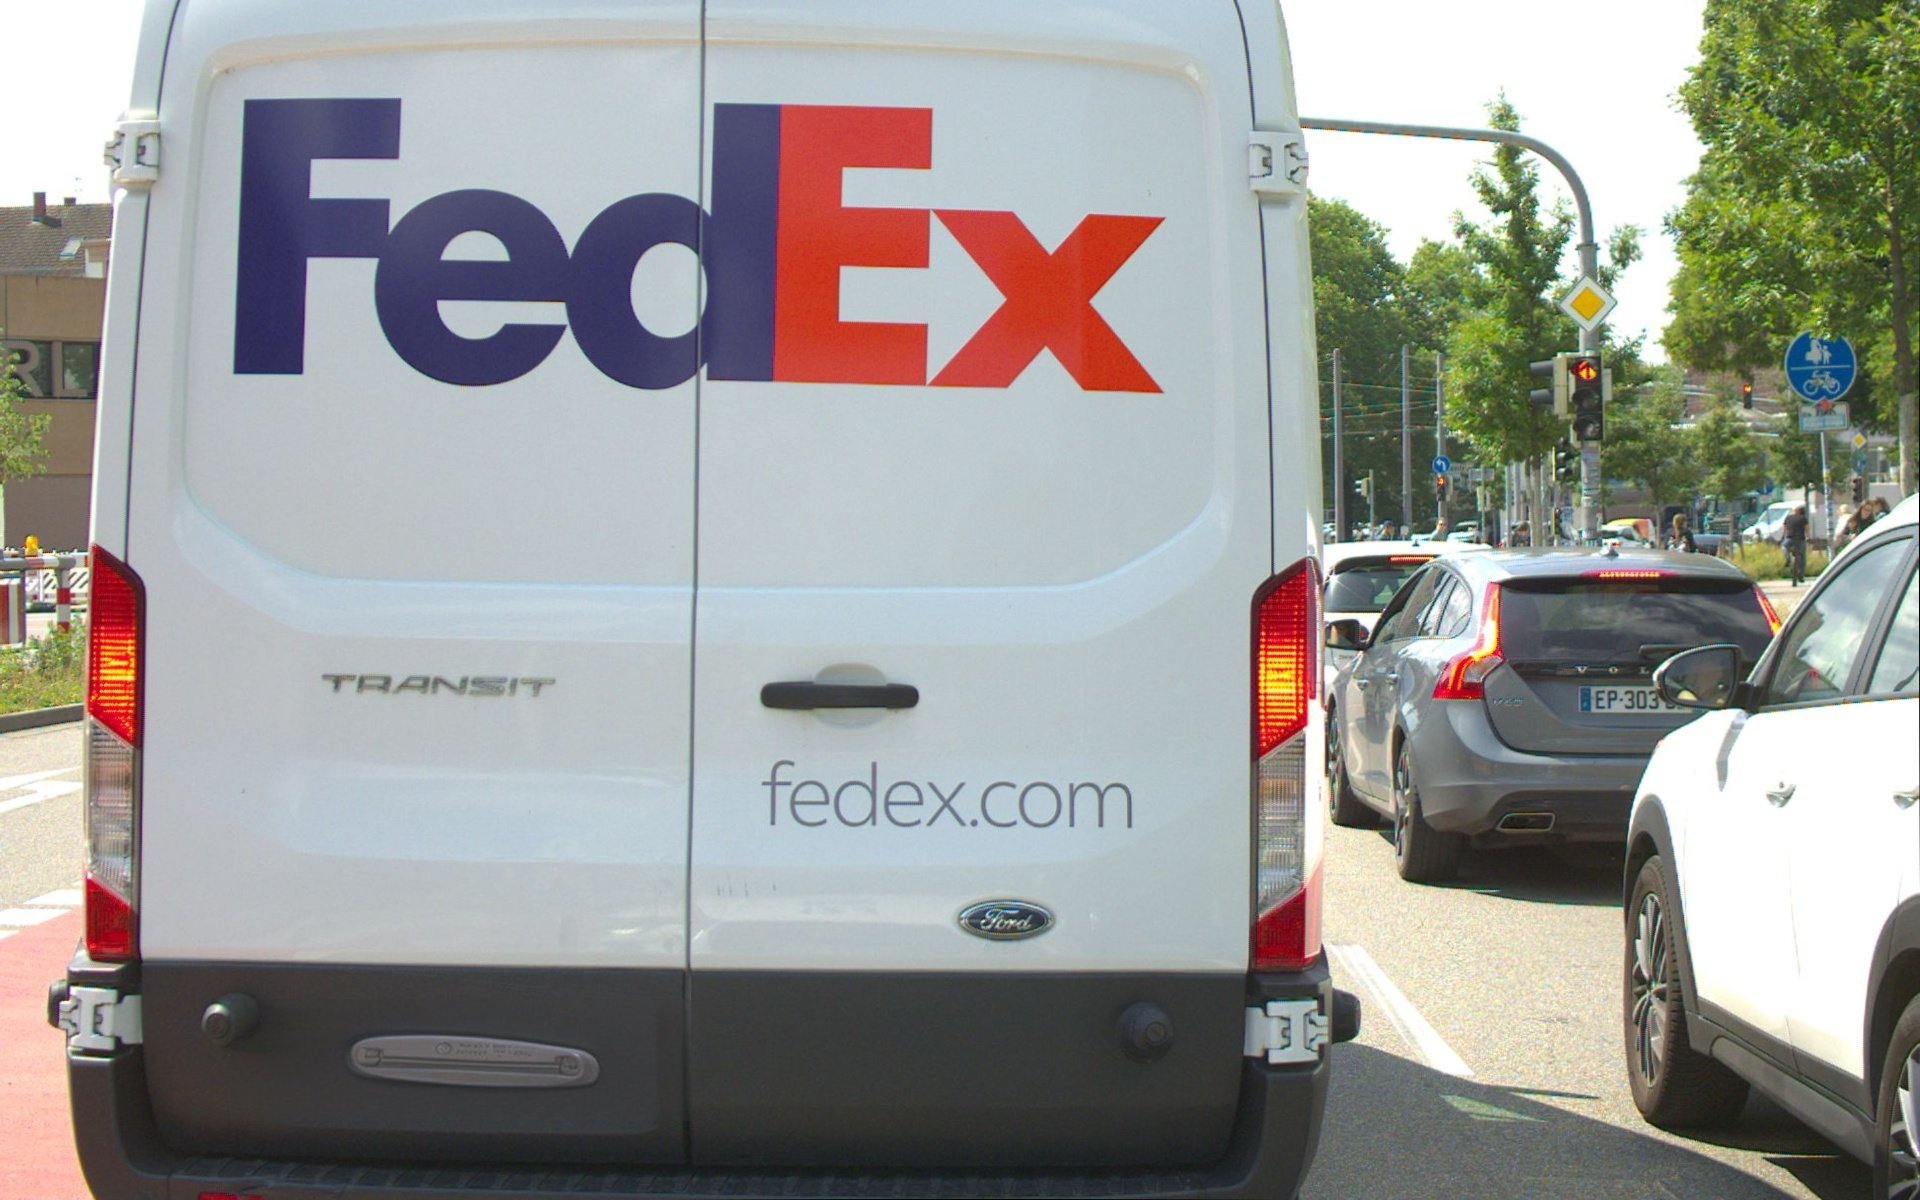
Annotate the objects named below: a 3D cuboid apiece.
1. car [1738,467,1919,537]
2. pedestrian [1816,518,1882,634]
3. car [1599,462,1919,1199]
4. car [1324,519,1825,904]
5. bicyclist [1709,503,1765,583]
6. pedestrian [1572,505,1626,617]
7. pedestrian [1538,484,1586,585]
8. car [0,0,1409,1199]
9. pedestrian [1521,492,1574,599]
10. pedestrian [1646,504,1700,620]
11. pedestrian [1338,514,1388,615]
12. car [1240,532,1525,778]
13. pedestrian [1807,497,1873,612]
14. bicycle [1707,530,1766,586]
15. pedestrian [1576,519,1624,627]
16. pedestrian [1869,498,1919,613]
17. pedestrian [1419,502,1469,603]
[{"bbox_3d":[35.880,-4.023,141.945,7.059,2.708,2.497,1,0,-20],"label":"car"},{"bbox_3d":[12.766,-0.351,49.389,0.759,1.649,0.816,-1,1,3],"label":"pedestrian"},{"bbox_3d":[2.590,0.558,7.208,1.814,1.673,3.974,0,1,1],"label":"car"},{"bbox_3d":[2.697,0.411,15.842,1.691,1.543,3.720,0,1,1],"label":"car"},{"bbox_3d":[21.318,-1.562,94.306,1.433,2.164,1.338,0,1,15],"label":"bicyclist"},{"bbox_3d":[10.538,-0.647,56.688,0.759,1.843,0.815,0,1,18],"label":"pedestrian"},{"bbox_3d":[11.177,-1.219,63.843,0.759,1.843,0.816,-1,1,3],"label":"pedestrian"},{"bbox_3d":[-0.356,0.071,7.195,2.072,2.572,4.428,0,1,1],"label":"car"},{"bbox_3d":[10.252,-0.950,59.963,0.813,1.843,0.761,0,1,3],"label":"pedestrian"},{"bbox_3d":[11.481,-0.621,55.345,0.759,1.843,0.815,0,1,18],"label":"pedestrian"},{"bbox_3d":[7.492,-0.665,63.954,0.758,1.843,0.816,-1,1,-4],"label":"pedestrian"},{"bbox_3d":[2.707,0.301,22.614,1.499,1.459,3.474,0,1,1],"label":"car"},{"bbox_3d":[14.267,-0.743,55.763,0.758,1.843,0.816,-1,1,-10],"label":"pedestrian"},{"bbox_3d":[21.334,-1.172,94.373,1.426,1.459,4.308,0,2,15],"label":"bicycle"},{"bbox_3d":[10.995,-0.468,59.048,0.759,1.843,0.816,0,1,15],"label":"pedestrian"},{"bbox_3d":[15.334,-0.730,56.014,0.758,1.843,0.816,-1,1,-8],"label":"pedestrian"},{"bbox_3d":[8.891,-0.876,63.152,0.758,1.843,0.816,-1,1,-3],"label":"pedestrian"}]
